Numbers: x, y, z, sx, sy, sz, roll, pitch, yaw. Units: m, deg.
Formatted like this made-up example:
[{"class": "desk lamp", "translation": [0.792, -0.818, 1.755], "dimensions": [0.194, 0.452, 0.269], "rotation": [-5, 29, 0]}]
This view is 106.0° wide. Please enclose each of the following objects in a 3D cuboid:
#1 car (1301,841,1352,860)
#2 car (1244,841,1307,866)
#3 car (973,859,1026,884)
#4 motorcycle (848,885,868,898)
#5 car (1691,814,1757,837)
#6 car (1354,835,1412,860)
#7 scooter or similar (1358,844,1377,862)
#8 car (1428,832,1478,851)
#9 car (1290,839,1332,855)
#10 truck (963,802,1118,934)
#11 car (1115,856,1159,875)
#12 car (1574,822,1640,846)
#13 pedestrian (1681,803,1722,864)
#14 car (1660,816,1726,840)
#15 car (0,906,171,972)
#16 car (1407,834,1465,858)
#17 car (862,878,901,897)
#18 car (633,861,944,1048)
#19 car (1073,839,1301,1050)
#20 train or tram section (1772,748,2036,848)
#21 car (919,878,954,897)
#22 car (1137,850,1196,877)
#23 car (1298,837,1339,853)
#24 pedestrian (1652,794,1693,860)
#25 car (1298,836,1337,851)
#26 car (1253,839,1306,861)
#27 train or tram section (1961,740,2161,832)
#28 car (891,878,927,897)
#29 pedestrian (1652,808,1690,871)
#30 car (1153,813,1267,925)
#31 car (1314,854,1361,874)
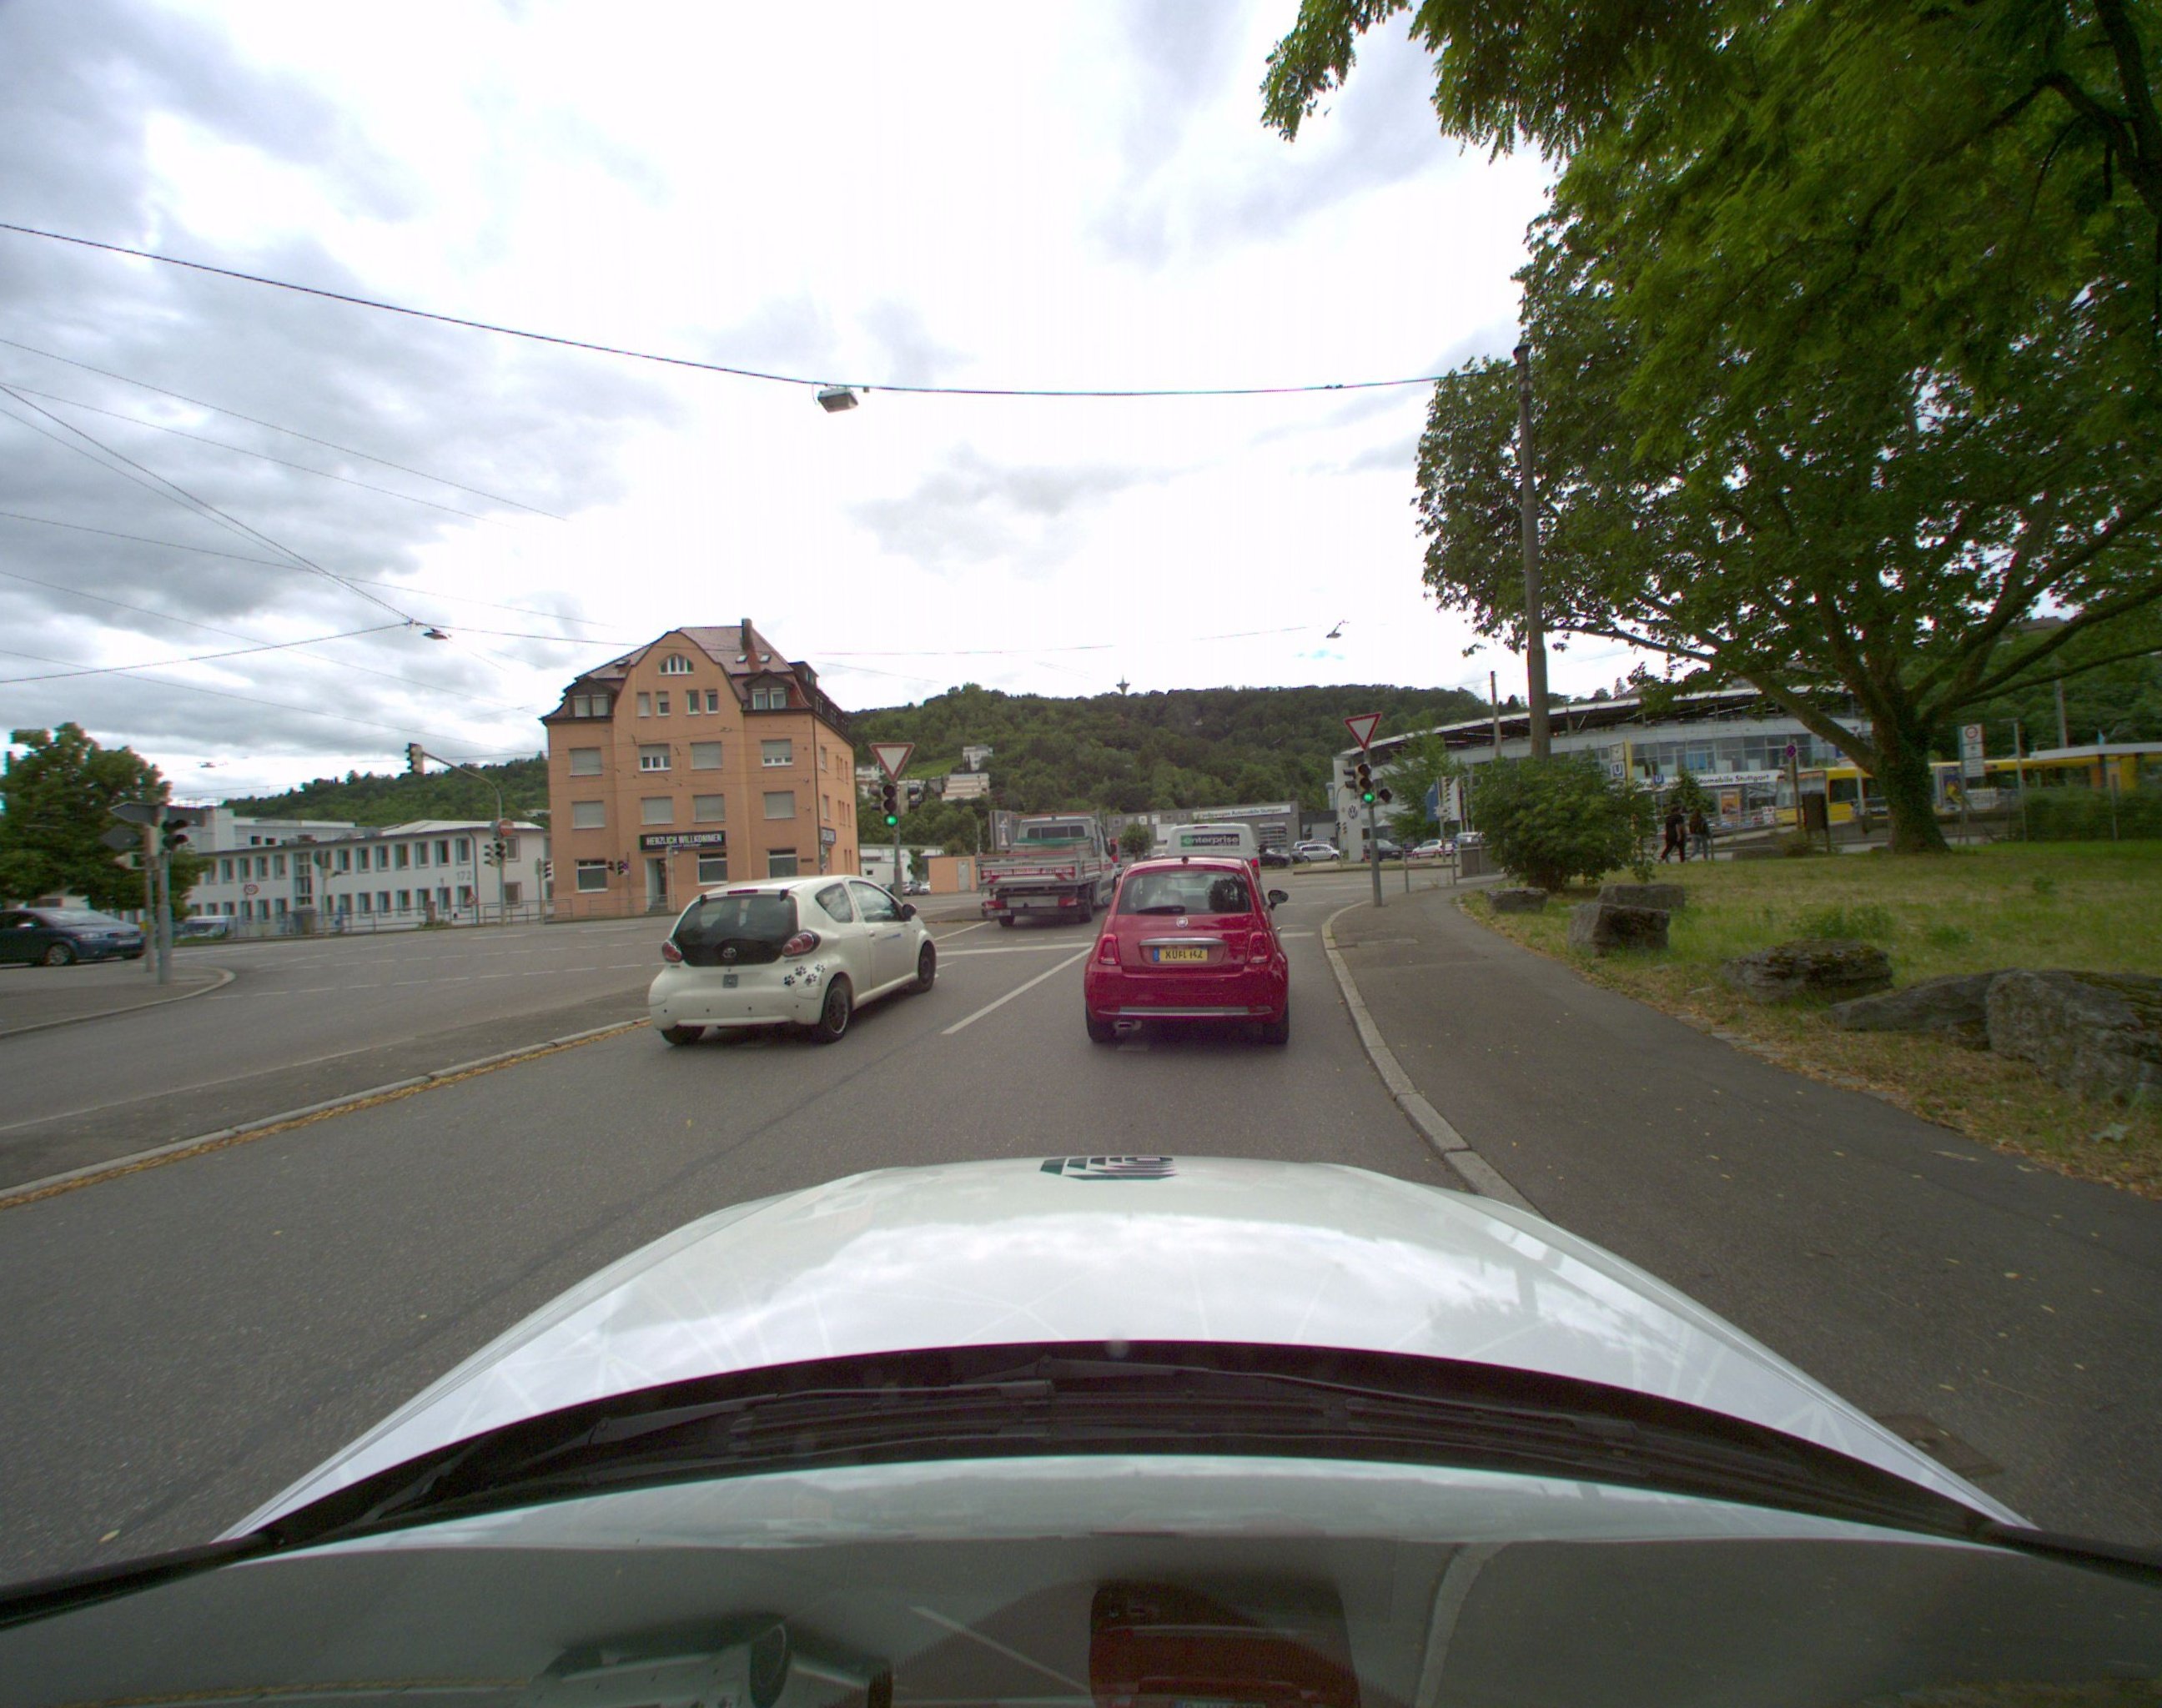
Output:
[{"class": "car", "translation": [23.004, -0.276, 76.475], "dimensions": [4.466, 1.729, 2.006], "rotation": [0, -2, 12]}, {"class": "car", "translation": [13.863, -0.017, 58.025], "dimensions": [3.950, 1.639, 2.012], "rotation": [-1, 3, 26]}, {"class": "car", "translation": [-7.631, 1.629, 76.264], "dimensions": [4.518, 2.243, 1.983], "rotation": [1, -2, -25]}, {"class": "motorcycle", "translation": [-17.204, 2.857, 62.795], "dimensions": [1.687, 0.984, 0.532], "rotation": [-1, -2, 38]}, {"class": "car", "translation": [51.021, -2.226, 64.710], "dimensions": [1.918, 1.554, 3.992], "rotation": [0, -1, -6]}, {"class": "car", "translation": [22.214, -0.444, 60.059], "dimensions": [1.997, 1.640, 3.980], "rotation": [-2, -1, -14]}, {"class": "scooter or similar", "translation": [20.152, -0.060, 57.300], "dimensions": [1.193, 1.288, 0.577], "rotation": [0, -2, 8]}, {"class": "car", "translation": [34.196, -1.102, 74.969], "dimensions": [1.929, 1.554, 3.969], "rotation": [1, -2, -23]}, {"class": "car", "translation": [25.800, -0.791, 91.466], "dimensions": [4.466, 1.729, 2.006], "rotation": [0, -2, 12]}, {"class": "truck", "translation": [-0.674, 0.215, 18.632], "dimensions": [2.300, 2.421, 5.669], "rotation": [-4, 1, 9]}, {"class": "car", "translation": [6.078, 1.248, 88.308], "dimensions": [4.465, 1.997, 2.006], "rotation": [0, -2, 12]}, {"class": "car", "translation": [40.734, -1.500, 63.159], "dimensions": [1.924, 1.554, 3.980], "rotation": [-4, 0, -14]}, {"class": "pedestrian", "translation": [17.491, -0.561, 22.951], "dimensions": [0.669, 1.690, 0.602], "rotation": [0, -2, -9]}, {"class": "car", "translation": [48.295, -2.040, 64.337], "dimensions": [1.919, 1.554, 3.992], "rotation": [-4, -1, -6]}, {"class": "car", "translation": [-26.358, 2.201, 21.024], "dimensions": [3.678, 1.392, 1.750], "rotation": [-3, 0, 1]}, {"class": "car", "translation": [26.598, -0.579, 61.122], "dimensions": [1.996, 1.640, 3.980], "rotation": [0, -1, -14]}, {"class": "car", "translation": [-19.621, 3.288, 80.359], "dimensions": [1.981, 1.839, 4.523], "rotation": [0, -1, 10]}, {"class": "car", "translation": [-2.739, 0.864, 8.471], "dimensions": [1.585, 1.420, 3.380], "rotation": [-5, -1, 7]}, {"class": "car", "translation": [1.166, 0.656, 8.028], "dimensions": [1.686, 1.525, 4.013], "rotation": [0, 0, 11]}, {"class": "train or tram section", "translation": [40.219, -2.713, 39.836], "dimensions": [11.877, 3.966, 2.739], "rotation": [-4, -1, -11]}, {"class": "car", "translation": [-14.170, 3.289, 80.153], "dimensions": [1.982, 1.839, 4.520], "rotation": [0, -1, 8]}, {"class": "car", "translation": [7.824, 0.907, 74.466], "dimensions": [4.962, 2.014, 2.009], "rotation": [-5, -3, 17]}, {"class": "car", "translation": [27.772, -1.062, 95.498], "dimensions": [4.466, 1.729, 2.006], "rotation": [0, -2, 12]}, {"class": "pedestrian", "translation": [17.226, -0.782, 23.719], "dimensions": [0.669, 1.867, 0.602], "rotation": [-2, -1, -9]}, {"class": "car", "translation": [29.203, -1.312, 100.505], "dimensions": [4.466, 1.729, 2.006], "rotation": [0, -2, 12]}, {"class": "car", "translation": [16.155, -0.297, 66.518], "dimensions": [3.969, 1.706, 2.002], "rotation": [0, -1, 3]}, {"class": "train or tram section", "translation": [51.931, -3.563, 42.069], "dimensions": [11.877, 3.966, 2.739], "rotation": [-4, -1, -11]}, {"class": "car", "translation": [-16.906, 3.288, 80.207], "dimensions": [1.982, 1.839, 4.521], "rotation": [0, -1, 9]}, {"class": "pedestrian", "translation": [17.639, -0.411, 24.366], "dimensions": [0.669, 1.867, 0.602], "rotation": [0, -2, -9]}, {"class": "car", "translation": [2.897, 0.221, 17.345], "dimensions": [1.984, 2.040, 4.850], "rotation": [0, 1, 14]}, {"class": "car", "translation": [26.481, 1.070, 84.108], "dimensions": [4.465, 1.997, 2.006], "rotation": [0, -2, 12]}]
